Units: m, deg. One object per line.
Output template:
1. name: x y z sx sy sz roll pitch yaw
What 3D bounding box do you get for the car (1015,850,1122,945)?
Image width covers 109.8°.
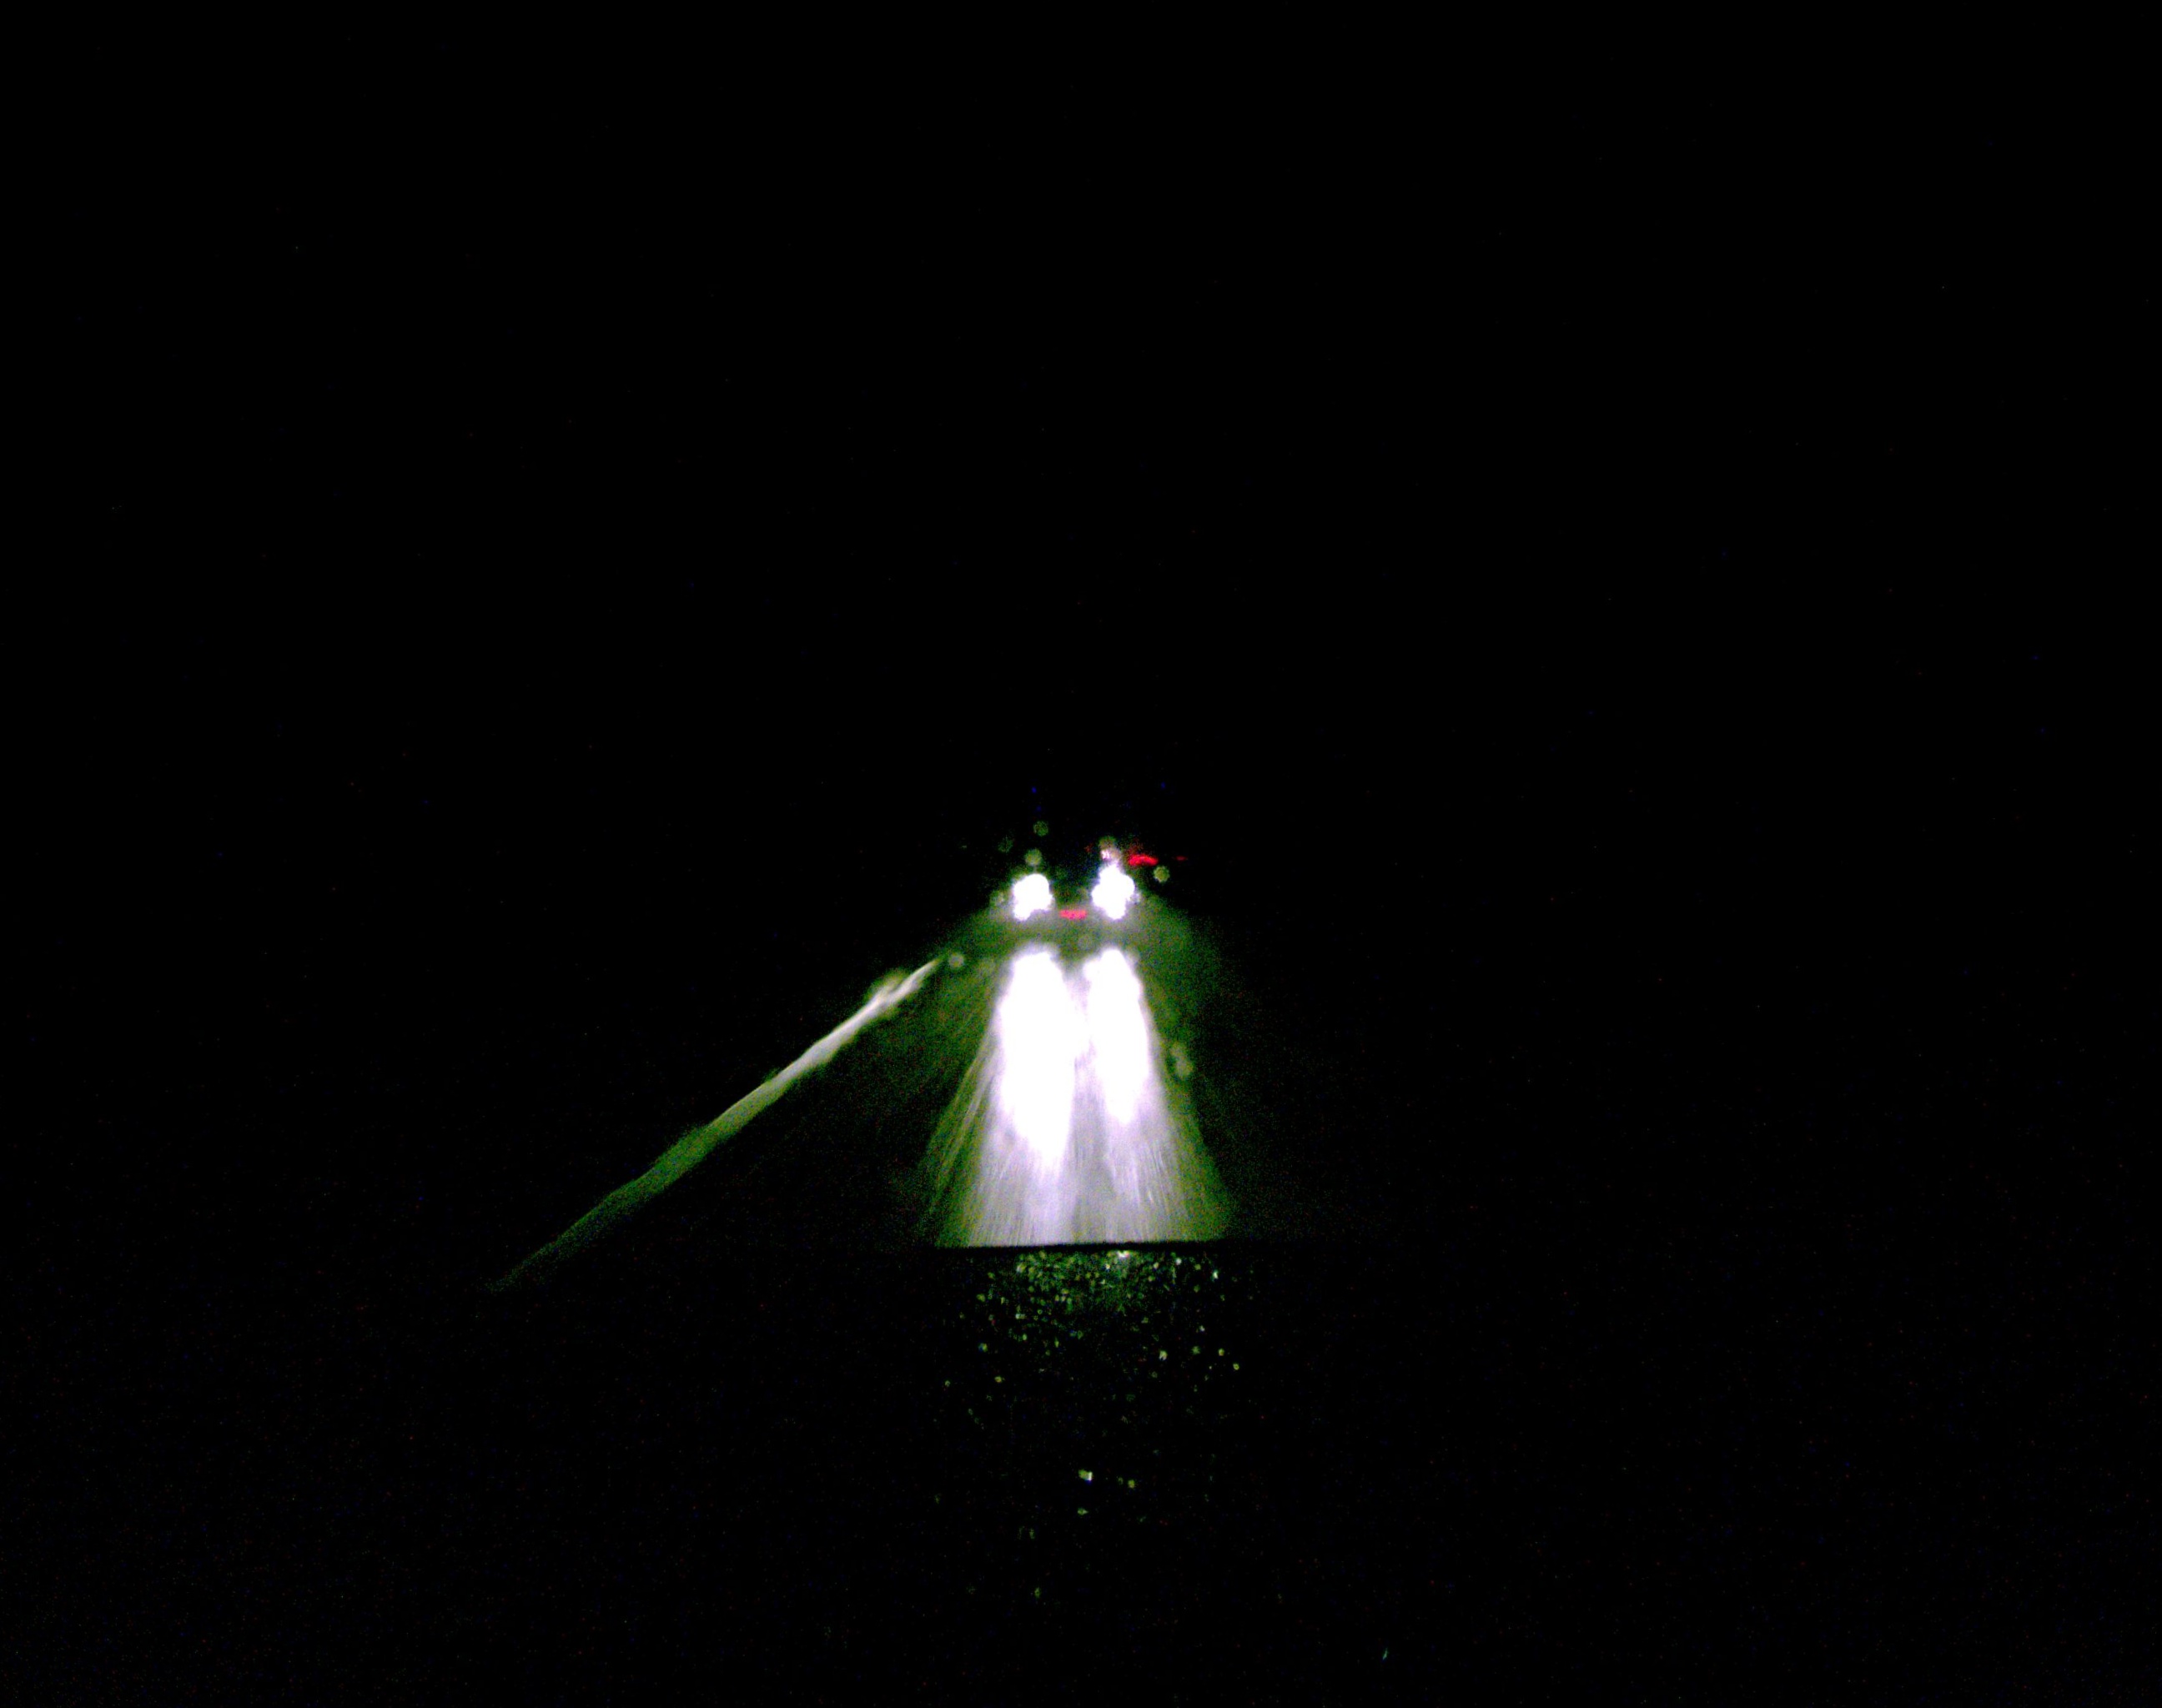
1. car: -0.121 0.773 15.799 1.862 1.601 4.420 -2 1 3

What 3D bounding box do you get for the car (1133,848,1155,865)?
1. car: 6.161 0.270 74.750 1.867 1.535 4.229 -2 -1 0
